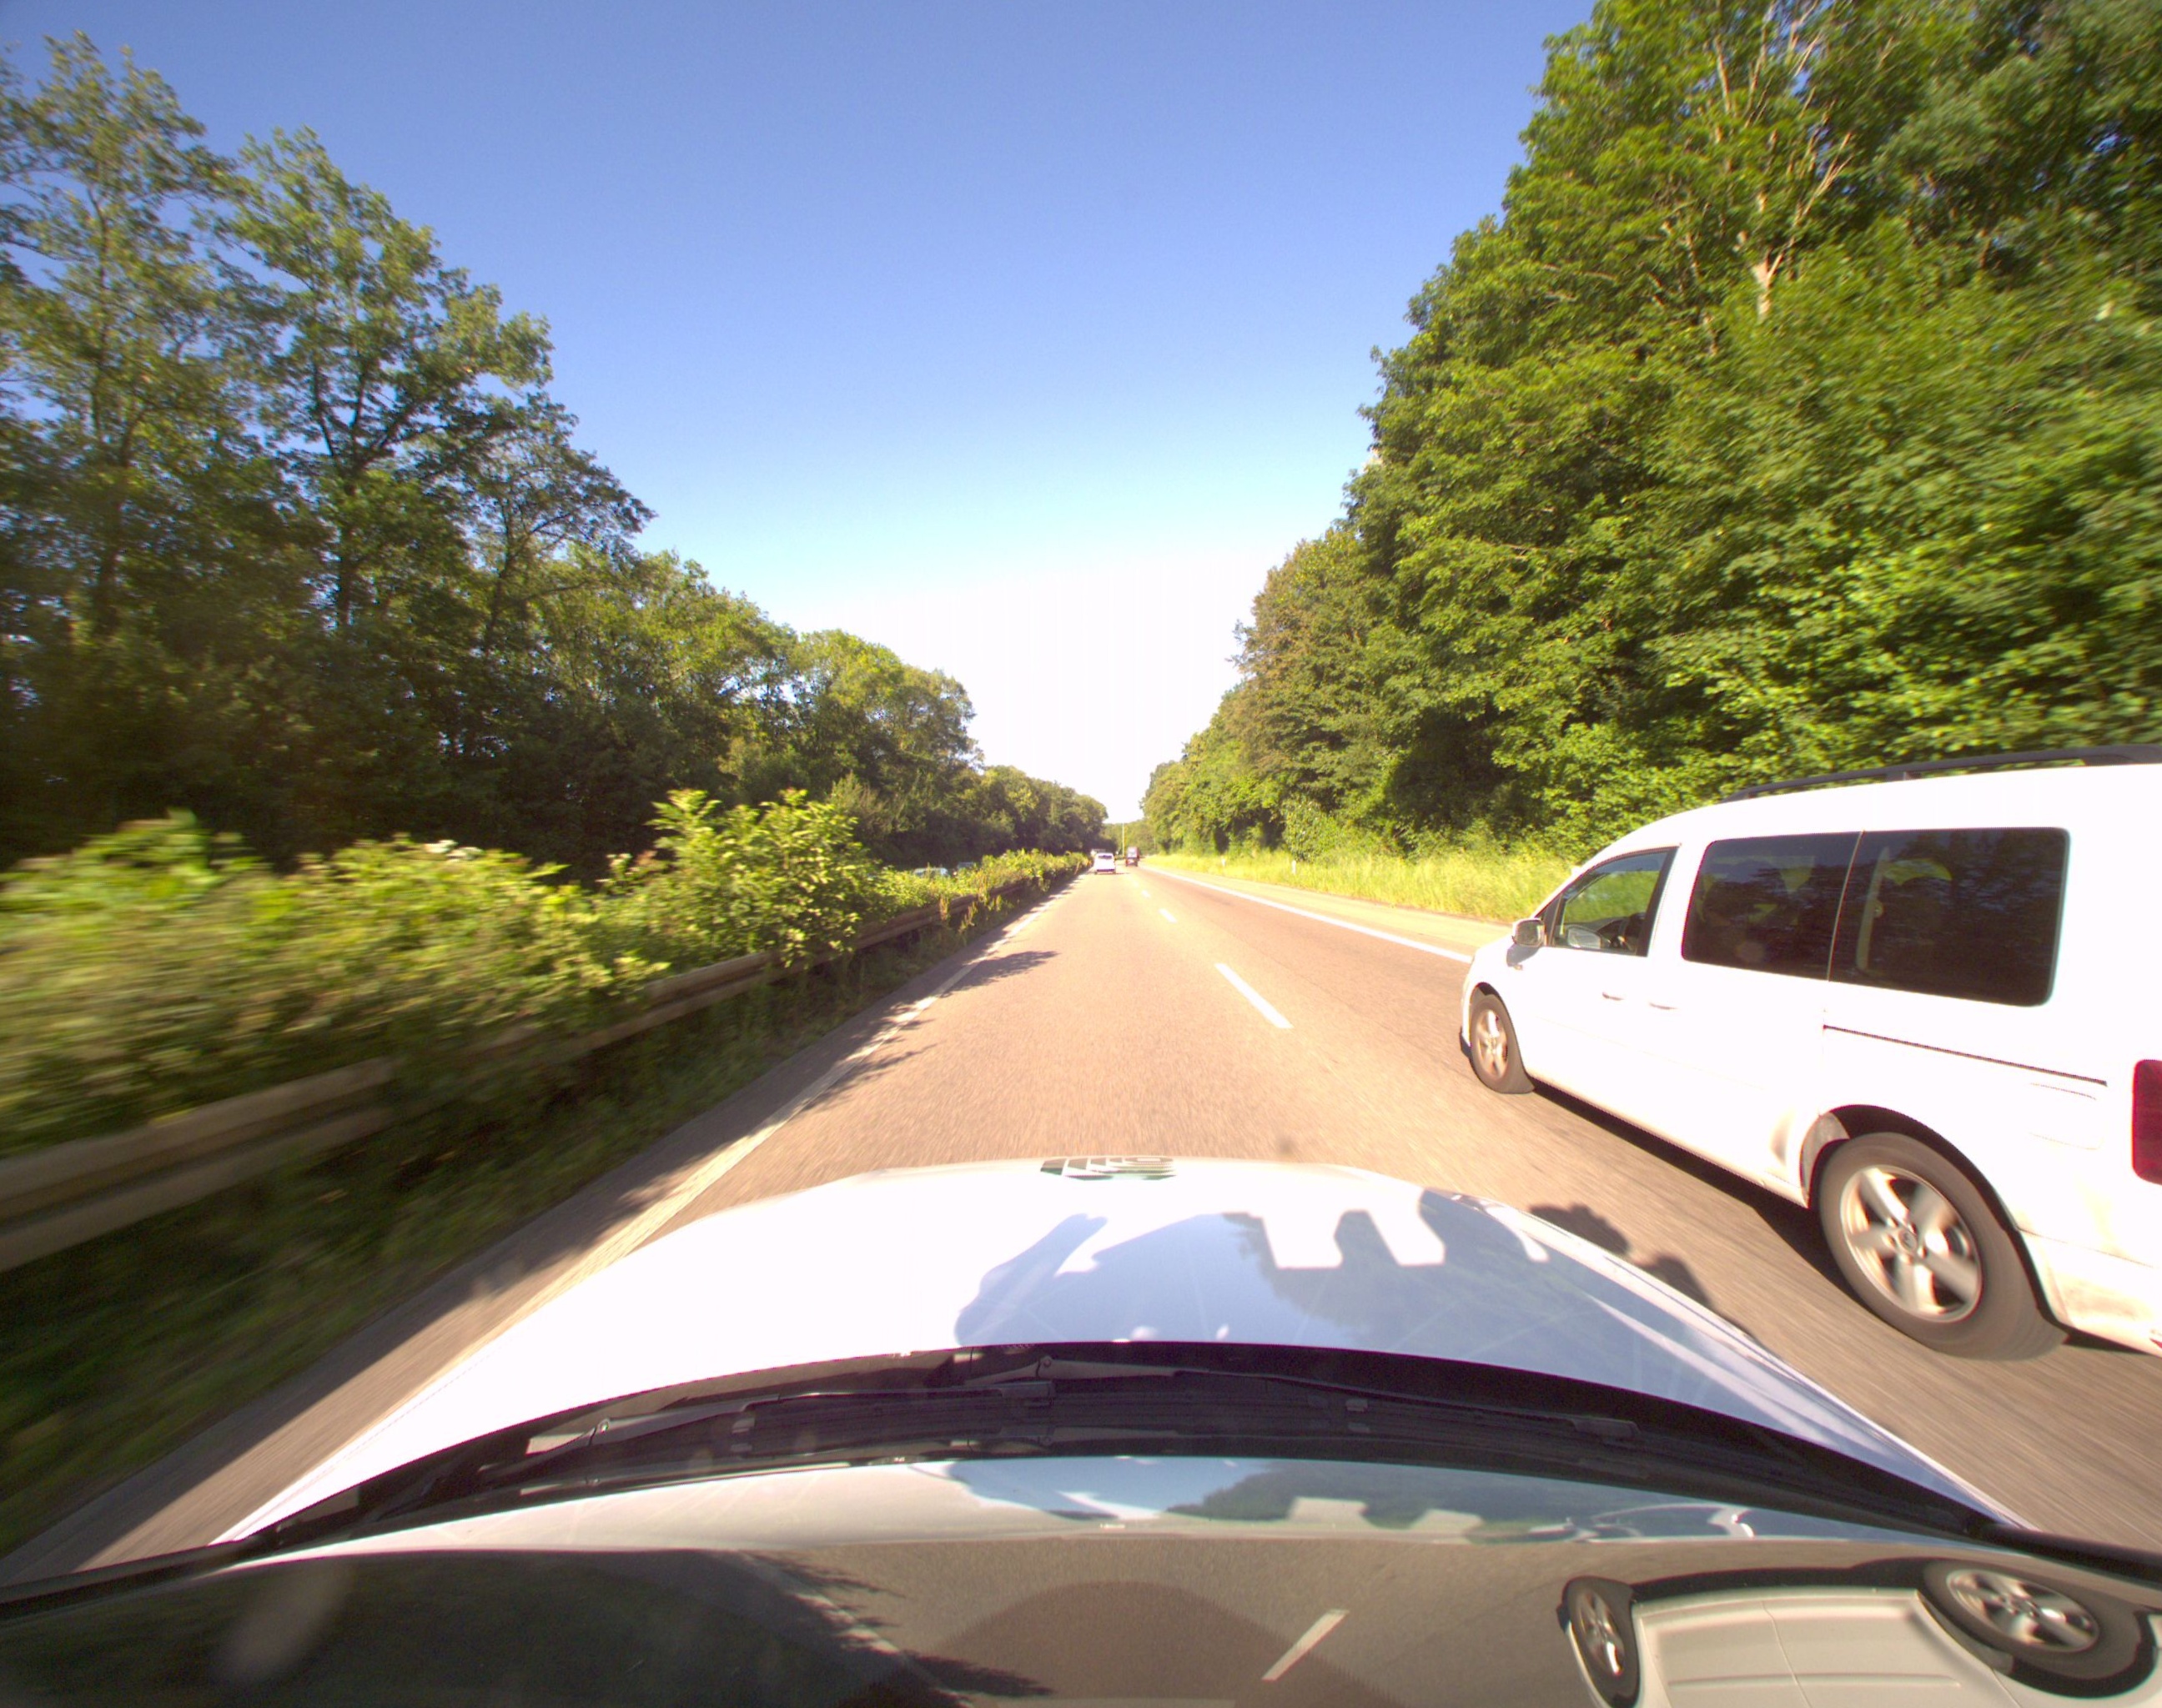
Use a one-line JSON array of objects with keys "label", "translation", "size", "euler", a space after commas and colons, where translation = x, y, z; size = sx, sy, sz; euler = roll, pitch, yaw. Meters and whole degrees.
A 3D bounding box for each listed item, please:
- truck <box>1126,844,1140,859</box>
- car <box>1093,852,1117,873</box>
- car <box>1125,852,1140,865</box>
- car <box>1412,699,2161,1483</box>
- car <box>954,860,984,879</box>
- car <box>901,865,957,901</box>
[{"label": "truck", "translation": [14.870, -0.654, 232.932], "size": [3.717, 4.343, 9.317], "euler": [-1, 0, 5]}, {"label": "car", "translation": [2.085, 0.735, 70.788], "size": [1.944, 1.782, 4.589], "euler": [-1, 0, 1]}, {"label": "car", "translation": [7.621, 0.670, 120.480], "size": [1.944, 1.782, 4.589], "euler": [-1, 0, 1]}, {"label": "car", "translation": [3.448, 0.553, 4.088], "size": [1.792, 1.813, 4.589], "euler": [-1, 0, 1]}, {"label": "car", "translation": [-9.449, 1.271, 68.732], "size": [1.840, 1.574, 4.001], "euler": [-1, 0, 2]}, {"label": "car", "translation": [-7.268, 1.355, 39.429], "size": [1.706, 1.605, 4.587], "euler": [-1, 0, 2]}]
